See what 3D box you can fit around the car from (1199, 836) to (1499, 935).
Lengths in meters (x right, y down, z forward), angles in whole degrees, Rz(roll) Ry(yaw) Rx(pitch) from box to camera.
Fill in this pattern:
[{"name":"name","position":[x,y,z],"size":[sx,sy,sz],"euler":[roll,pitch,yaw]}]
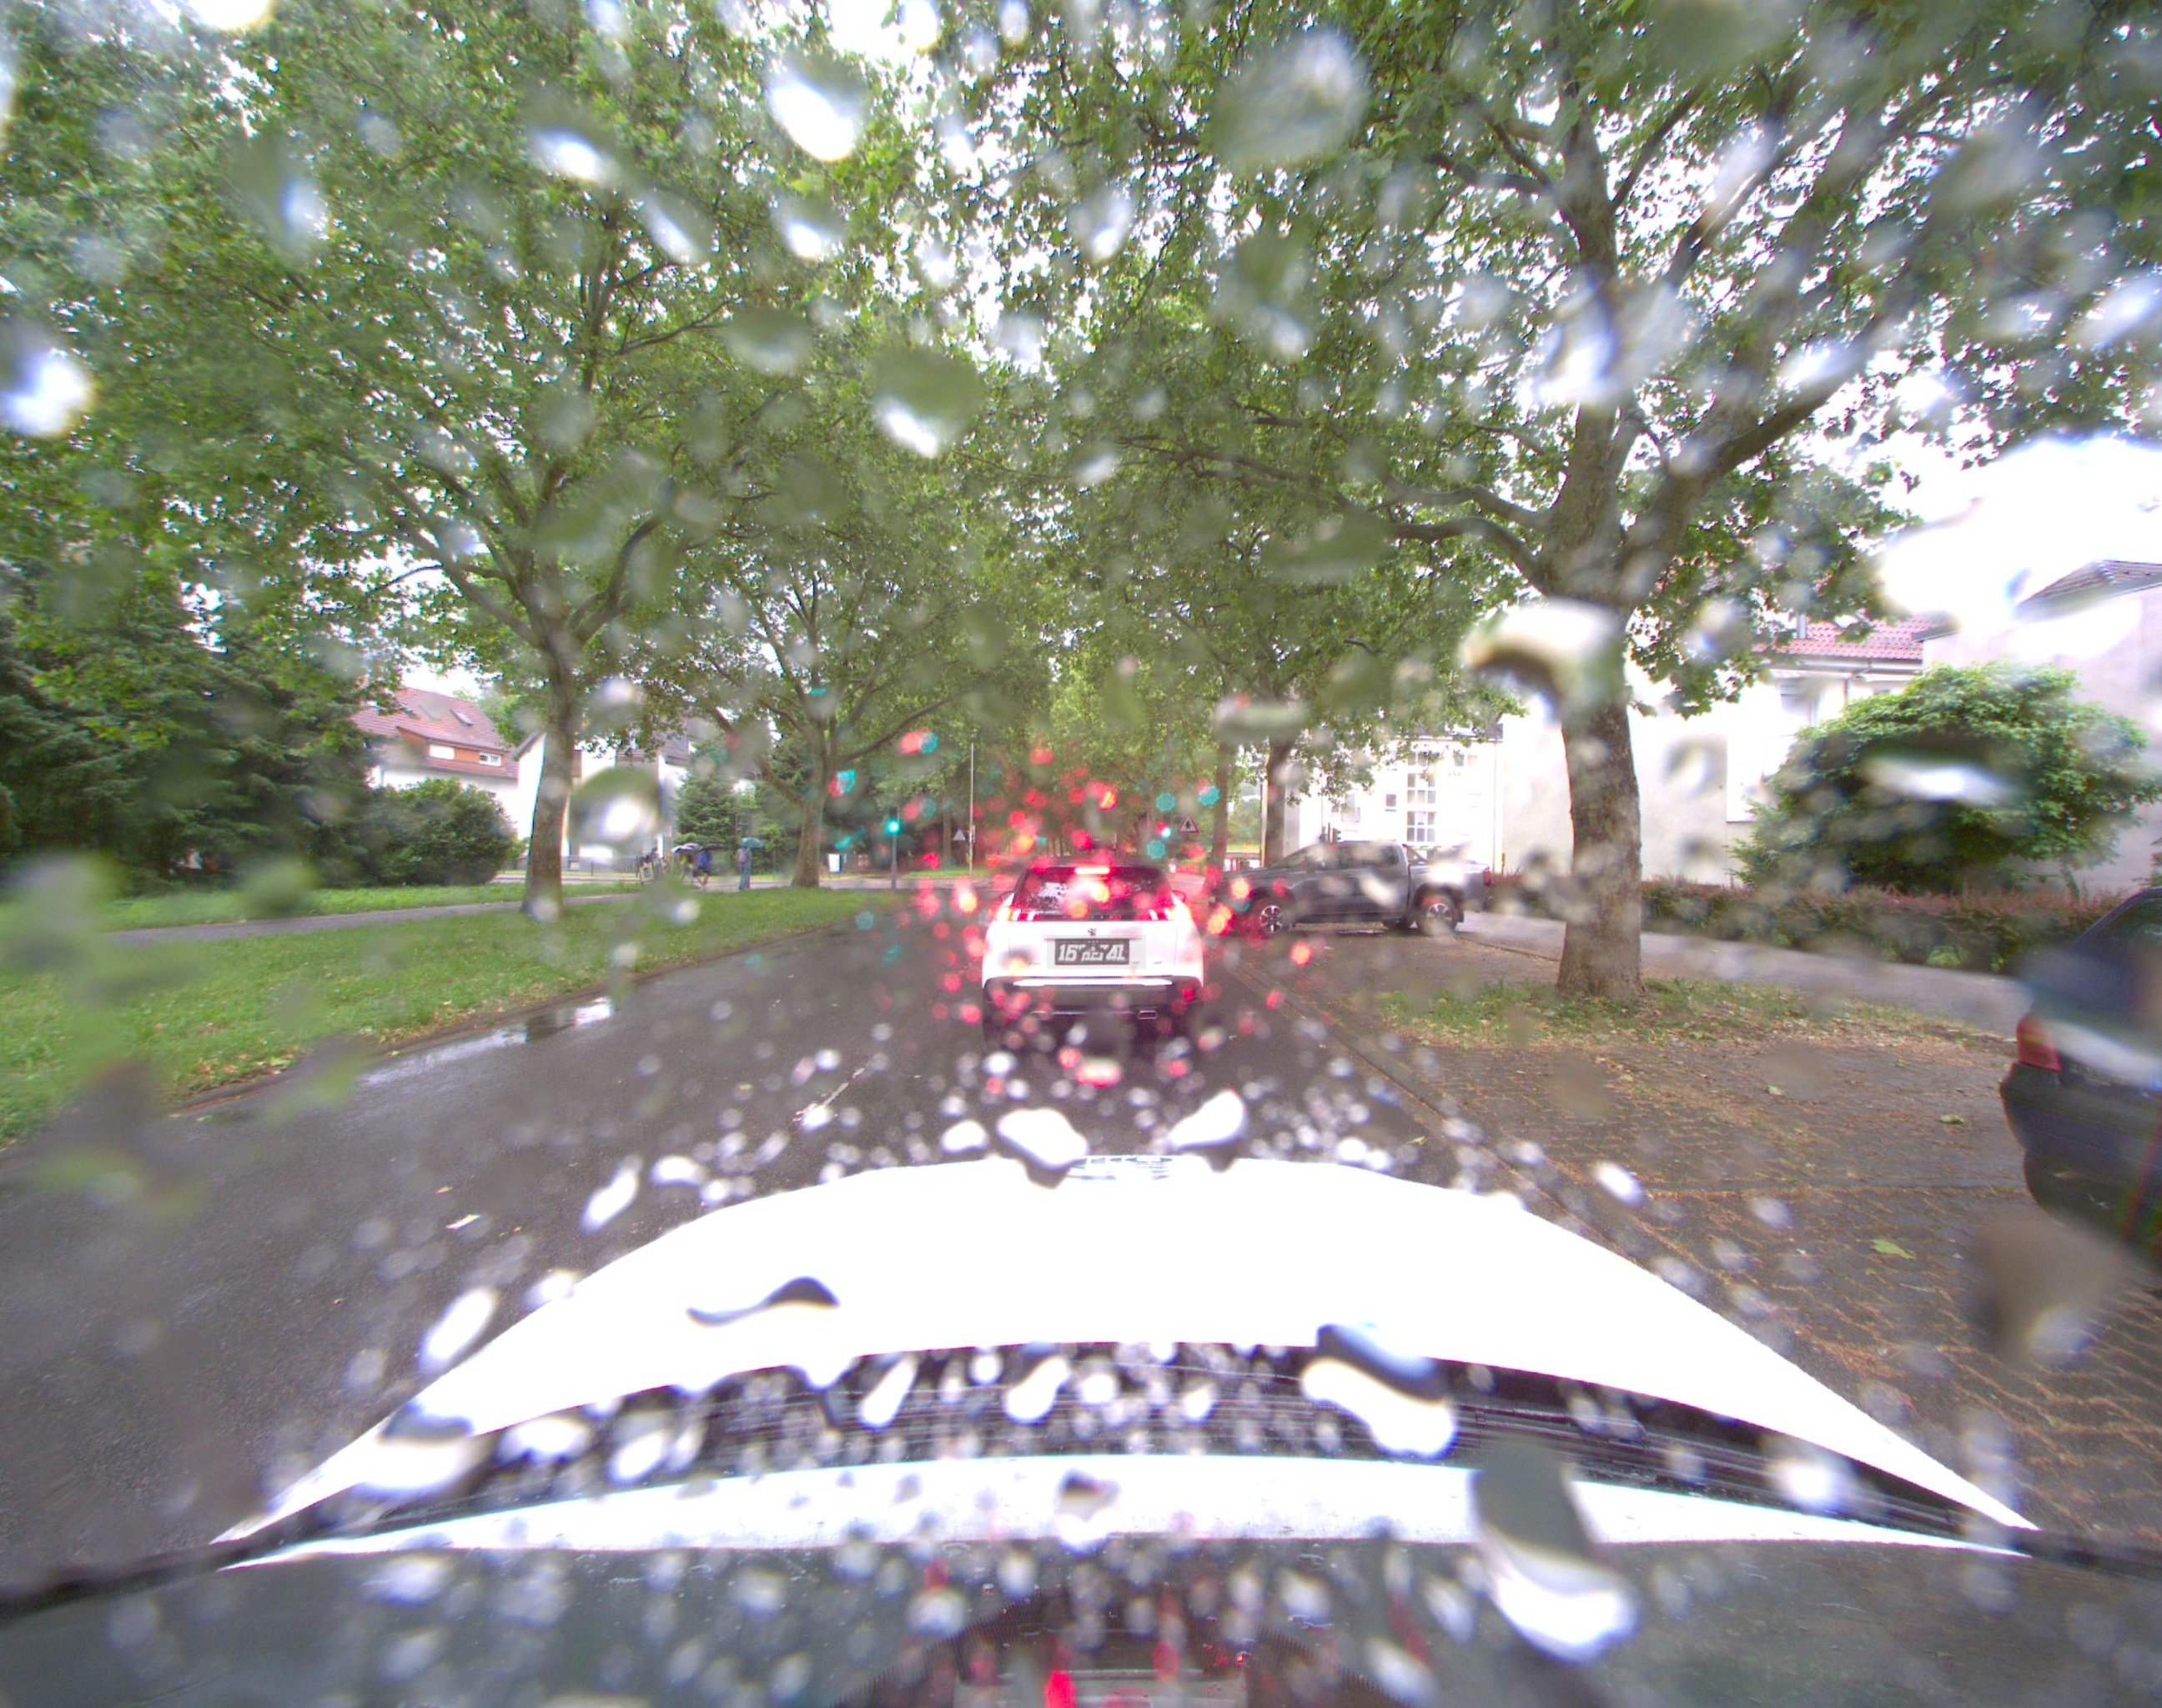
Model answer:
[{"name":"car","position":[5.141,0.588,15.965],"size":[5.330,1.807,1.842],"euler":[0,0,-6]}]

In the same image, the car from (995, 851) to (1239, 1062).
[{"name":"car","position":[0.311,0.738,7.945],"size":[1.774,1.536,4.059],"euler":[0,0,1]}]

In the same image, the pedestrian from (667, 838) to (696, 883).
[{"name":"pedestrian","position":[-15.812,0.255,32.251],"size":[0.818,1.744,0.639],"euler":[1,0,-2]}]

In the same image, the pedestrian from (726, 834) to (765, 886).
[{"name":"pedestrian","position":[-11.733,0.207,28.500],"size":[1.029,1.765,0.838],"euler":[0,0,1]}]

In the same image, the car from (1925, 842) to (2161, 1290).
[{"name":"car","position":[5.210,0.699,2.626],"size":[3.344,1.464,1.618],"euler":[0,0,0]}]

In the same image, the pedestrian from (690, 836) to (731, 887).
[{"name":"pedestrian","position":[-13.006,0.245,28.603],"size":[1.029,1.765,0.879],"euler":[0,0,1]}]

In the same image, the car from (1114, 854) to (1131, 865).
[{"name":"car","position":[5.693,0.783,111.808],"size":[1.901,1.510,3.928],"euler":[0,0,-2]}]

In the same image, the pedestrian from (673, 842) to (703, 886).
[{"name":"pedestrian","position":[-16.014,0.398,33.201],"size":[0.856,1.744,0.639],"euler":[1,0,-2]}]
